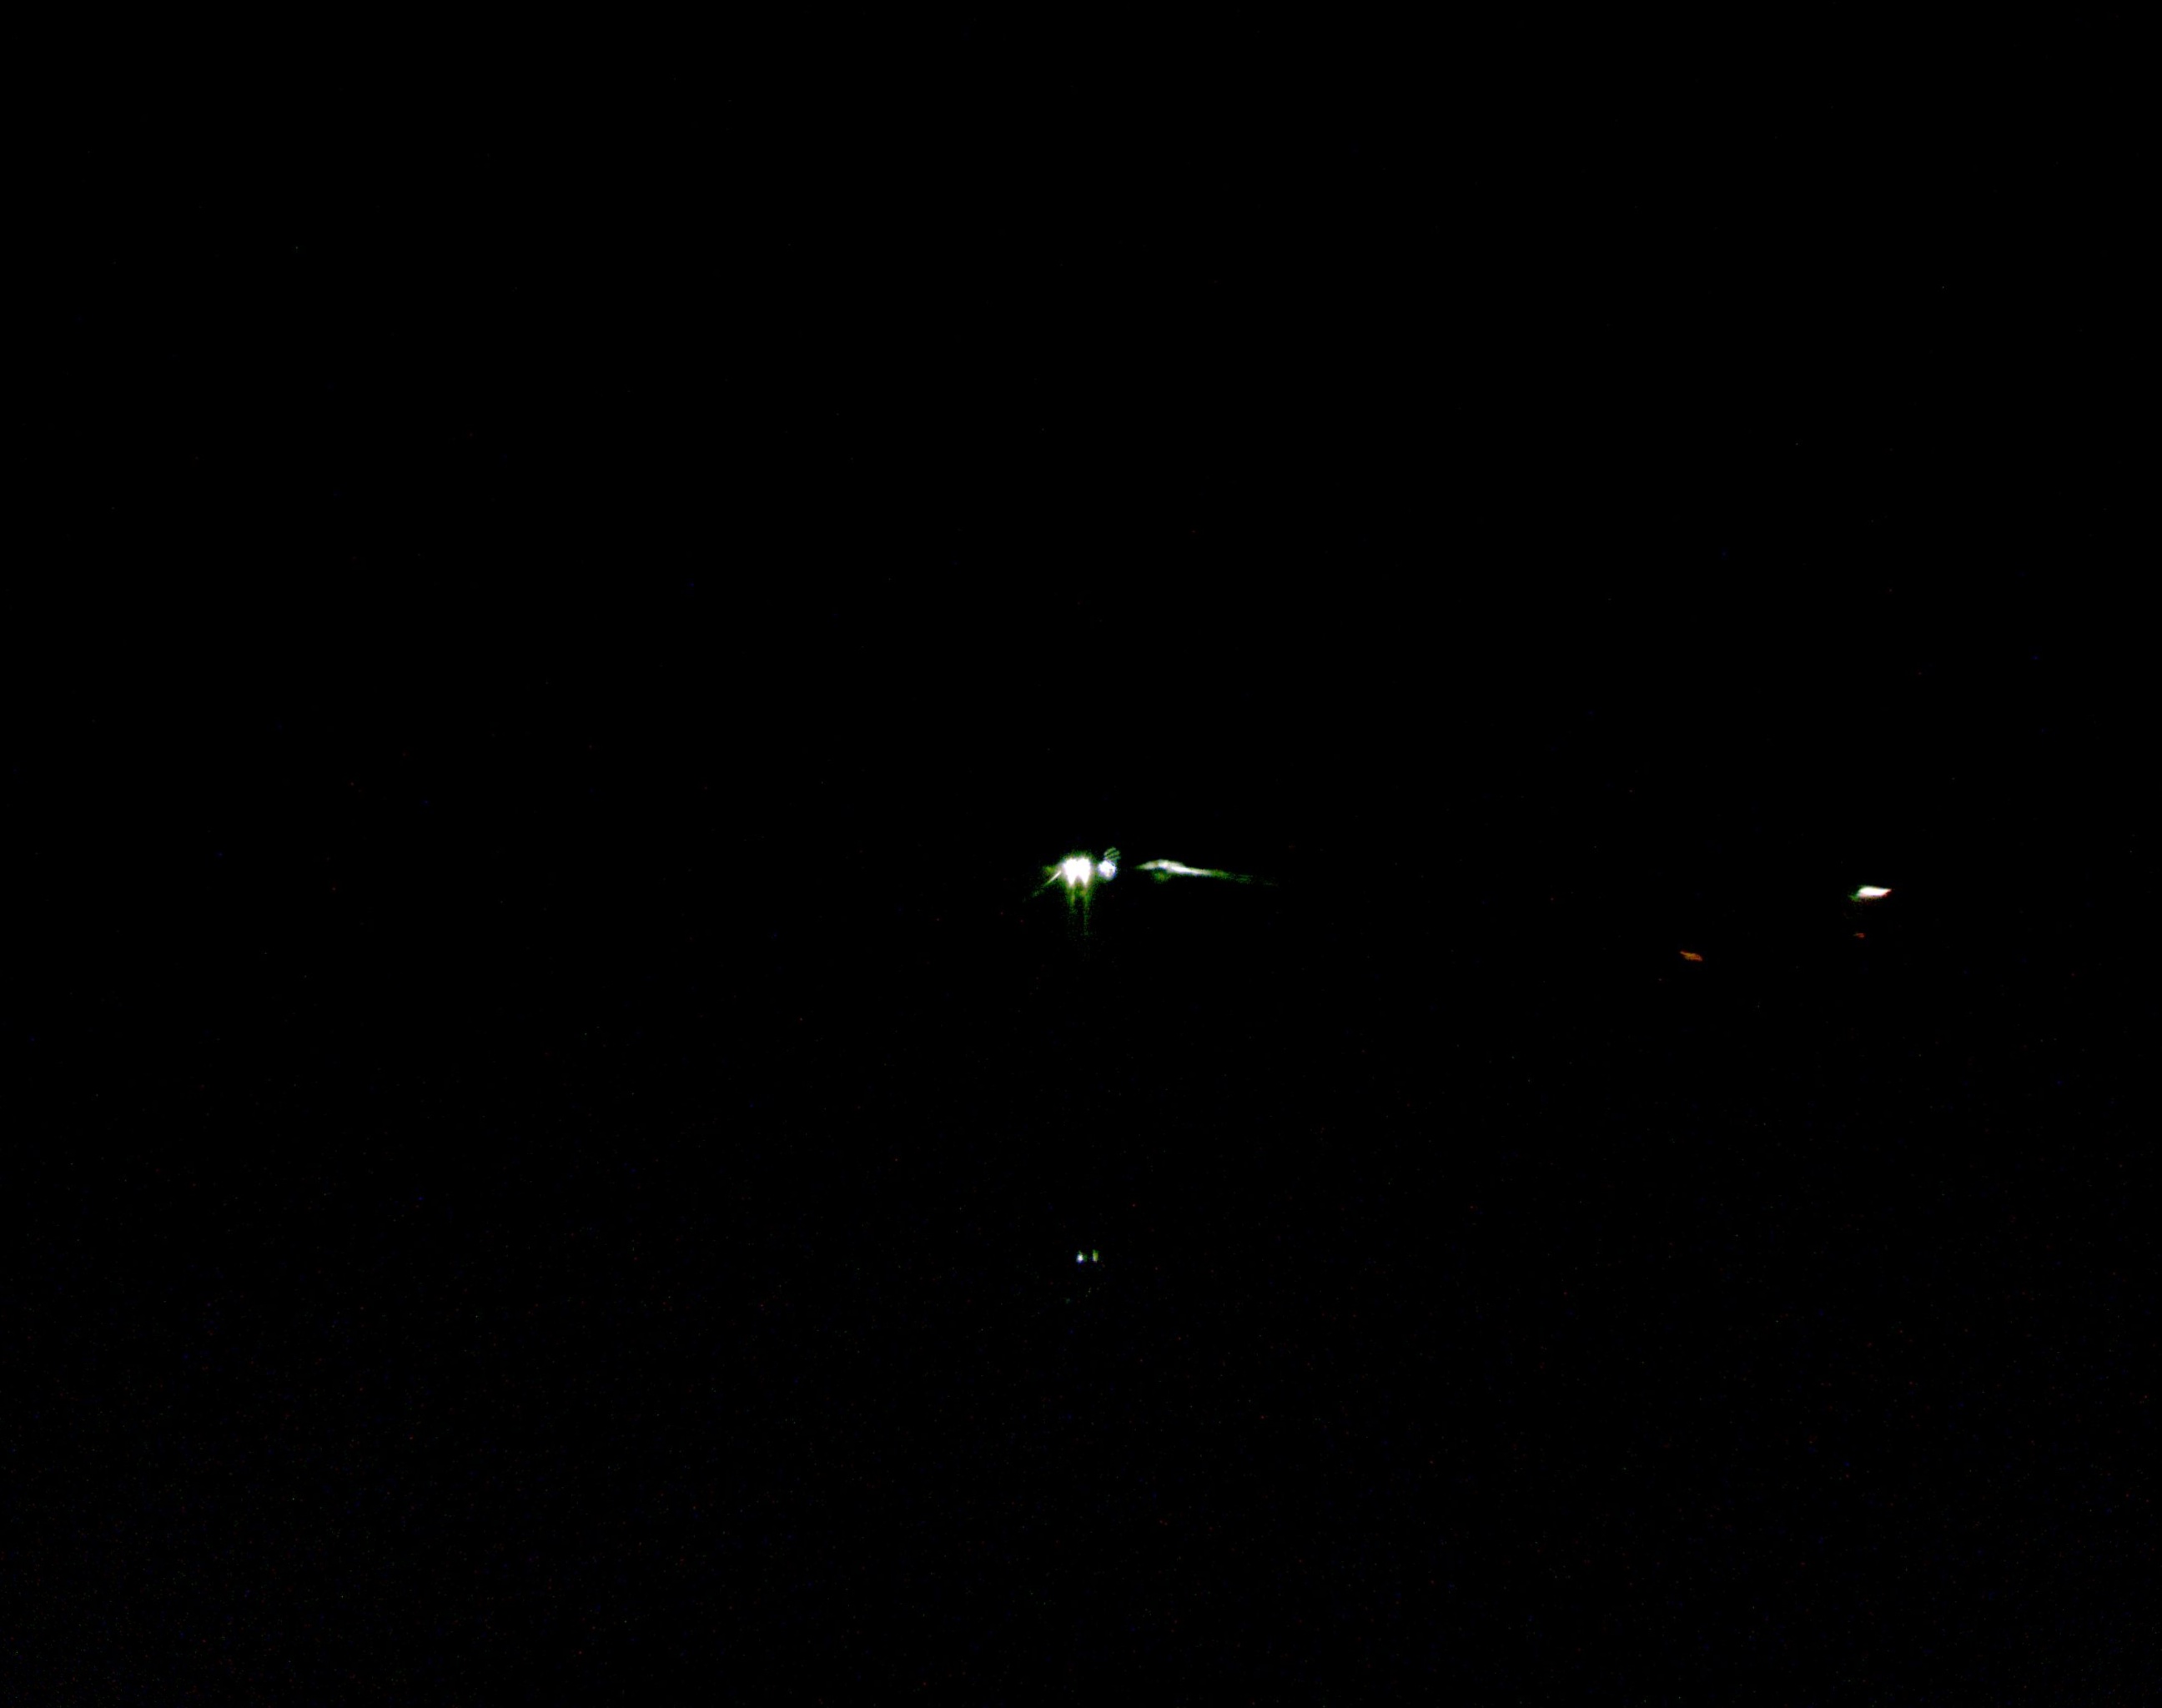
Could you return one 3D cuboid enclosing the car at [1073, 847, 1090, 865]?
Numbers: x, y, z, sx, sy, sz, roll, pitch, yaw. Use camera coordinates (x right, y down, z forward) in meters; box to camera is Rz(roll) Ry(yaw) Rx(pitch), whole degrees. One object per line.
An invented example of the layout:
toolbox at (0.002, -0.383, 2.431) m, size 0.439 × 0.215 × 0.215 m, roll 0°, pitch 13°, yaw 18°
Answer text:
car at (0.062, 0.245, 94.734) m, size 1.998 × 2.003 × 3.997 m, roll -3°, pitch 3°, yaw 0°
